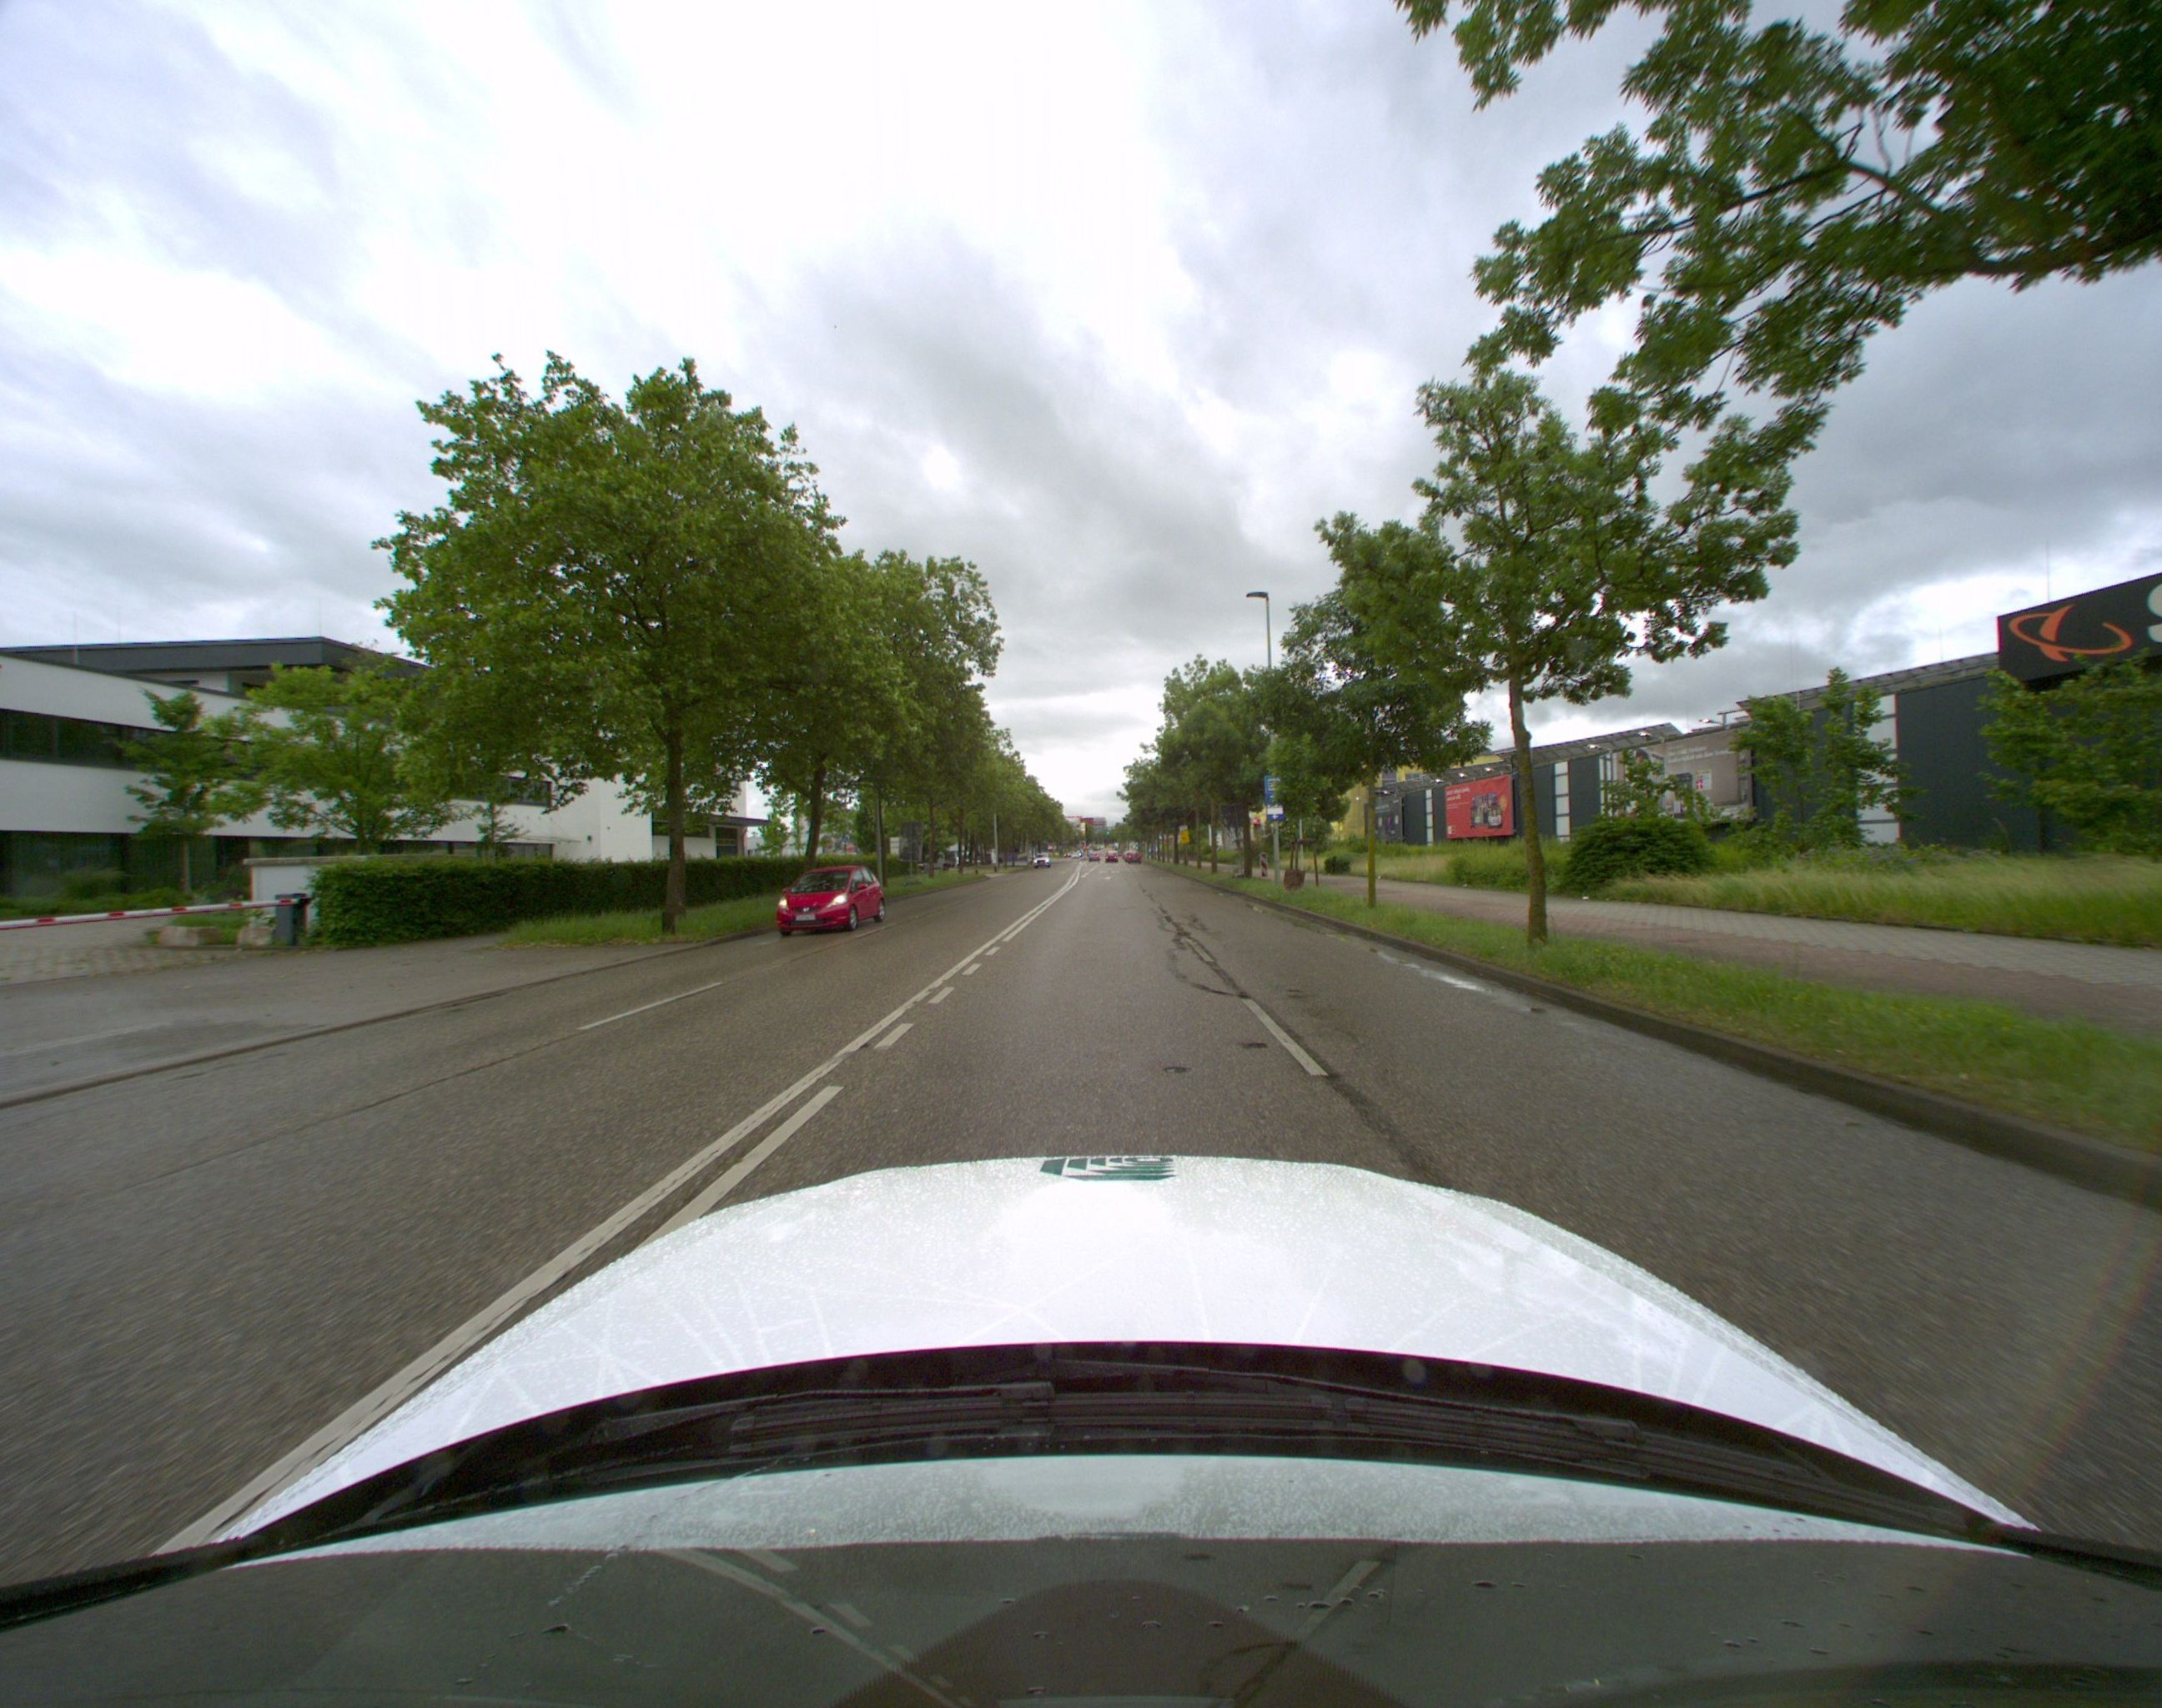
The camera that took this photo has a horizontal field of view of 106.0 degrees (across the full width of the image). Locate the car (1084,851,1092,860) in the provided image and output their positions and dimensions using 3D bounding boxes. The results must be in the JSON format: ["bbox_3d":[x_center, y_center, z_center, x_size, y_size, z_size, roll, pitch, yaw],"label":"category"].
[{"bbox_3d":[1.678,0.356,193.517,1.821,2.013,3.999,-3,0,0],"label":"car"}]

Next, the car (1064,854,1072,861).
[{"bbox_3d":[-3.654,0.948,228.763,2.209,2.013,3.999,-3,0,0],"label":"car"}]

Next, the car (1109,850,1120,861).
[{"bbox_3d":[5.814,0.210,142.251,1.737,1.737,4.004,-3,0,3],"label":"car"}]

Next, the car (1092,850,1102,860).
[{"bbox_3d":[3.365,0.209,166.276,1.884,1.876,4.125,-3,0,2],"label":"car"}]

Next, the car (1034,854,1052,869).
[{"bbox_3d":[-4.697,0.902,101.037,1.696,1.737,4.005,-3,0,4],"label":"car"}]

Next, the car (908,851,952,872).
[{"bbox_3d":[-15.107,0.746,81.707,3.972,1.924,1.827,-3,-1,2],"label":"car"}]

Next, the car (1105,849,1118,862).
[{"bbox_3d":[4.848,0.219,128.745,1.737,2.013,4.004,-3,0,3],"label":"car"}]

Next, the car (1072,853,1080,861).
[{"bbox_3d":[-1.318,0.710,200.072,1.821,1.728,3.999,-3,0,0],"label":"car"}]

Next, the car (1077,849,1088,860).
[{"bbox_3d":[0.369,0.113,164.626,1.986,2.013,4.001,-3,0,1],"label":"car"}]

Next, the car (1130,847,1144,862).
[{"bbox_3d":[7.891,0.065,114.890,1.737,2.013,4.004,-3,0,3],"label":"car"}]

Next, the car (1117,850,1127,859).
[{"bbox_3d":[8.525,0.115,169.989,1.986,1.794,4.001,-3,0,1],"label":"car"}]

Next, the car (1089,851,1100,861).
[{"bbox_3d":[2.501,0.381,151.627,1.737,1.701,4.004,-3,0,3],"label":"car"}]

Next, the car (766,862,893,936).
[{"bbox_3d":[-5.994,1.018,19.883,1.719,1.517,3.823,-3,0,2],"label":"car"}]
